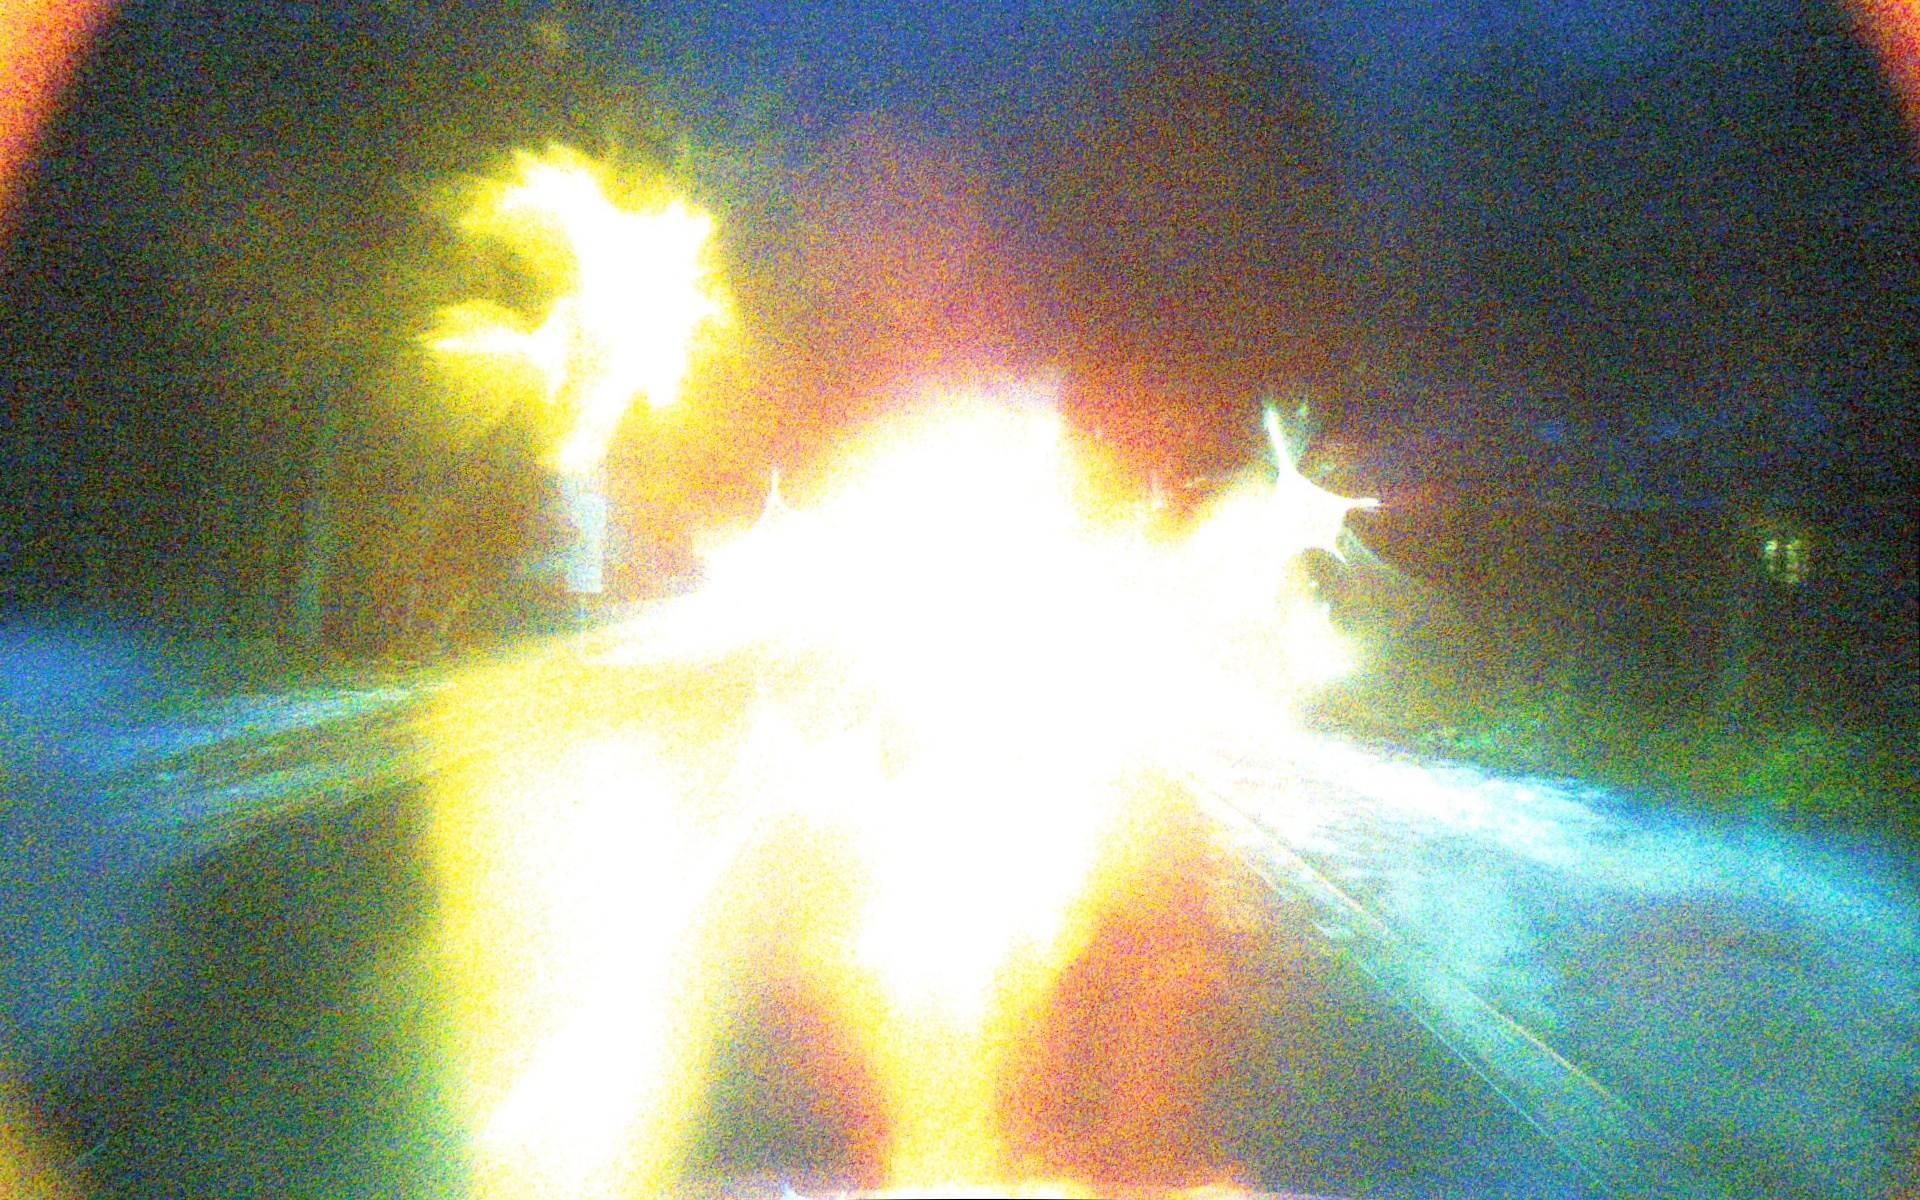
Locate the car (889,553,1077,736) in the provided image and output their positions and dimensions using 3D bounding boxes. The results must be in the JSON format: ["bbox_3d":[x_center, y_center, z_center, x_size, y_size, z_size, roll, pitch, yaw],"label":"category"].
[{"bbox_3d":[0.270,0.409,17.584,1.754,1.711,3.905,-1,0,1],"label":"car"}]

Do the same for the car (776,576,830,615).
[{"bbox_3d":[-6.853,-0.187,72.478,1.835,1.572,4.356,-3,0,1],"label":"car"}]
